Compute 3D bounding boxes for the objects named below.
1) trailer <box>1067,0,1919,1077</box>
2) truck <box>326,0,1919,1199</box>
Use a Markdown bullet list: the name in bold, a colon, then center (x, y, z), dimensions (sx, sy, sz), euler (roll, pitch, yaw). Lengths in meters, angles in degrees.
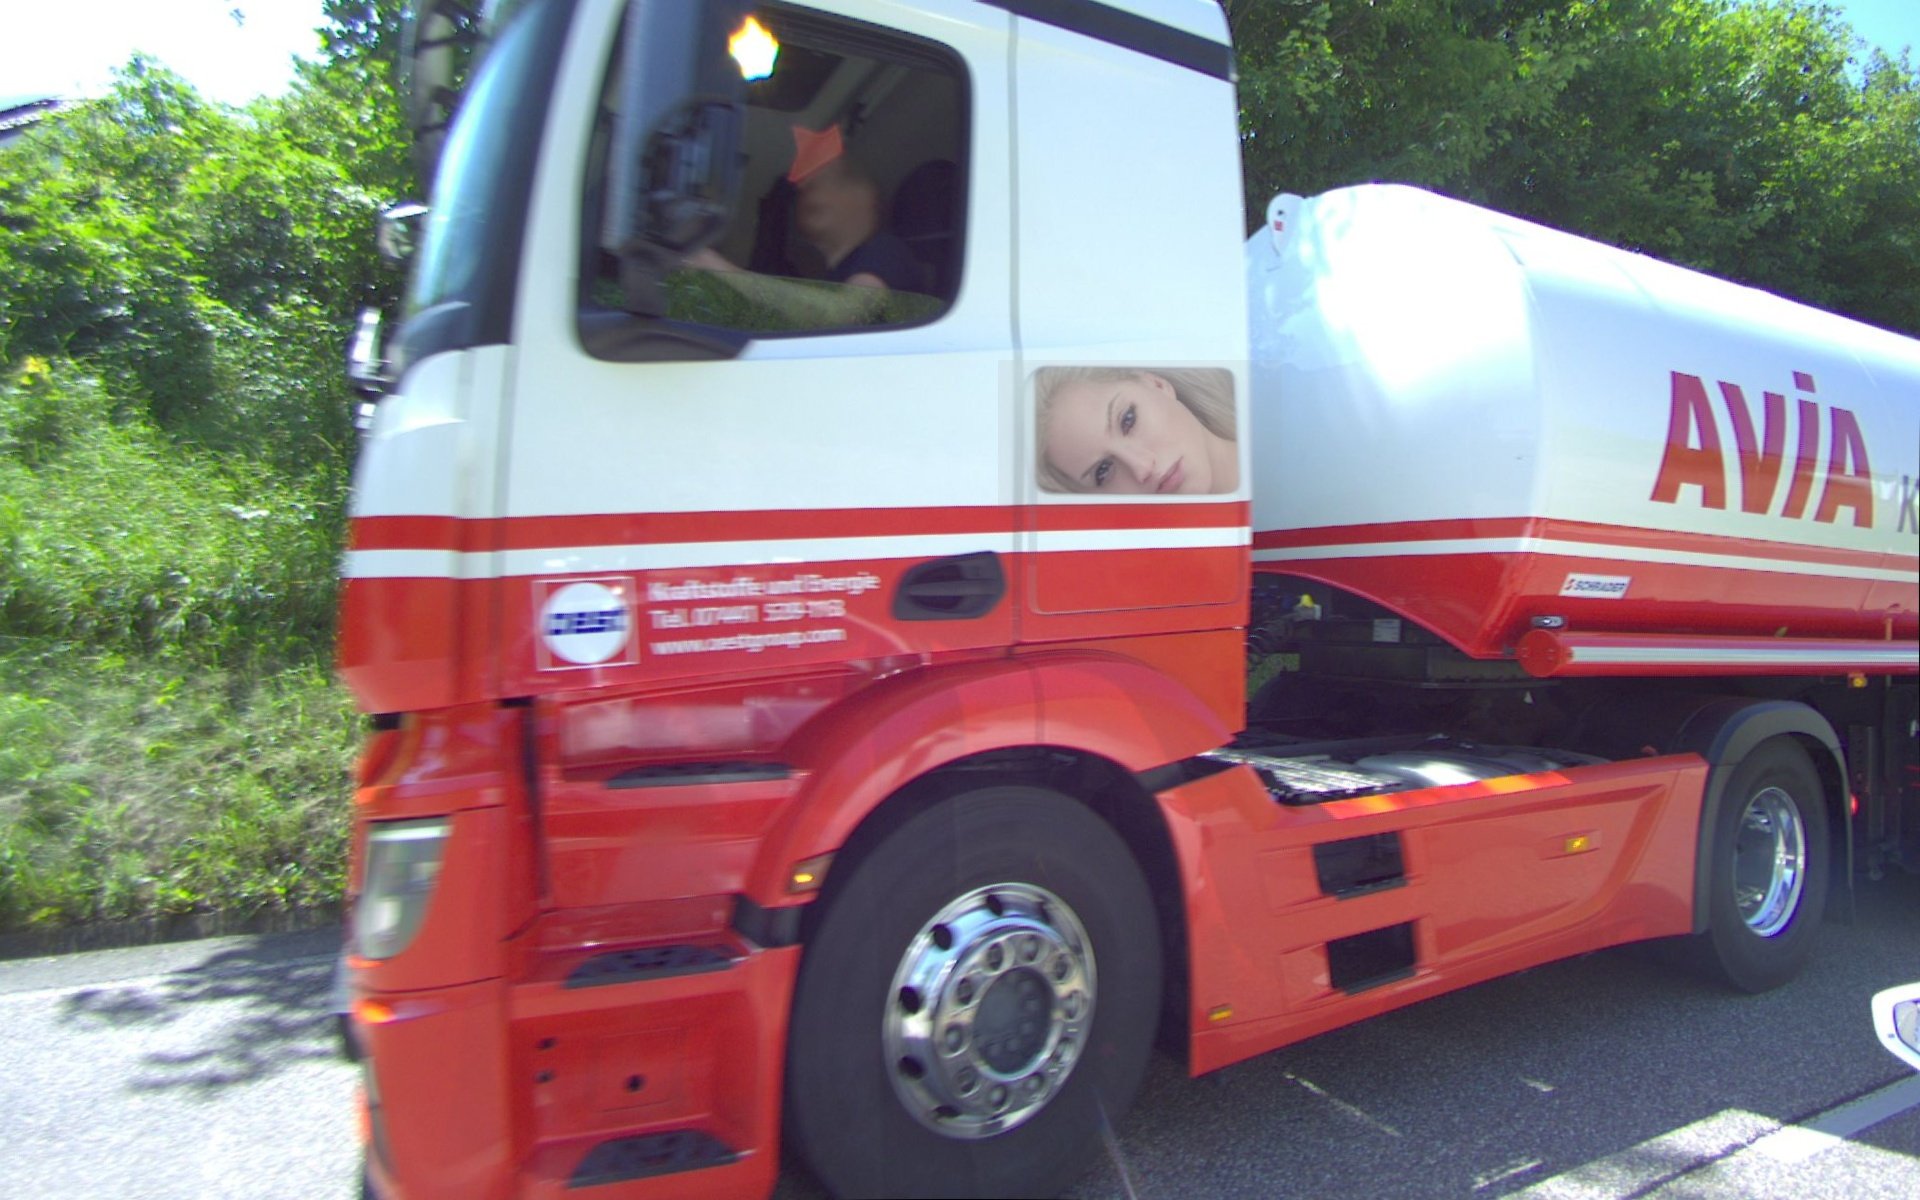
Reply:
- **trailer**: center (6.090, -0.048, 6.850), dimensions (11.001, 3.417, 2.623), euler (2, -1, -27)
- **truck**: center (1.492, -0.148, 4.455), dimensions (6.979, 3.212, 2.616), euler (2, -1, -28)
